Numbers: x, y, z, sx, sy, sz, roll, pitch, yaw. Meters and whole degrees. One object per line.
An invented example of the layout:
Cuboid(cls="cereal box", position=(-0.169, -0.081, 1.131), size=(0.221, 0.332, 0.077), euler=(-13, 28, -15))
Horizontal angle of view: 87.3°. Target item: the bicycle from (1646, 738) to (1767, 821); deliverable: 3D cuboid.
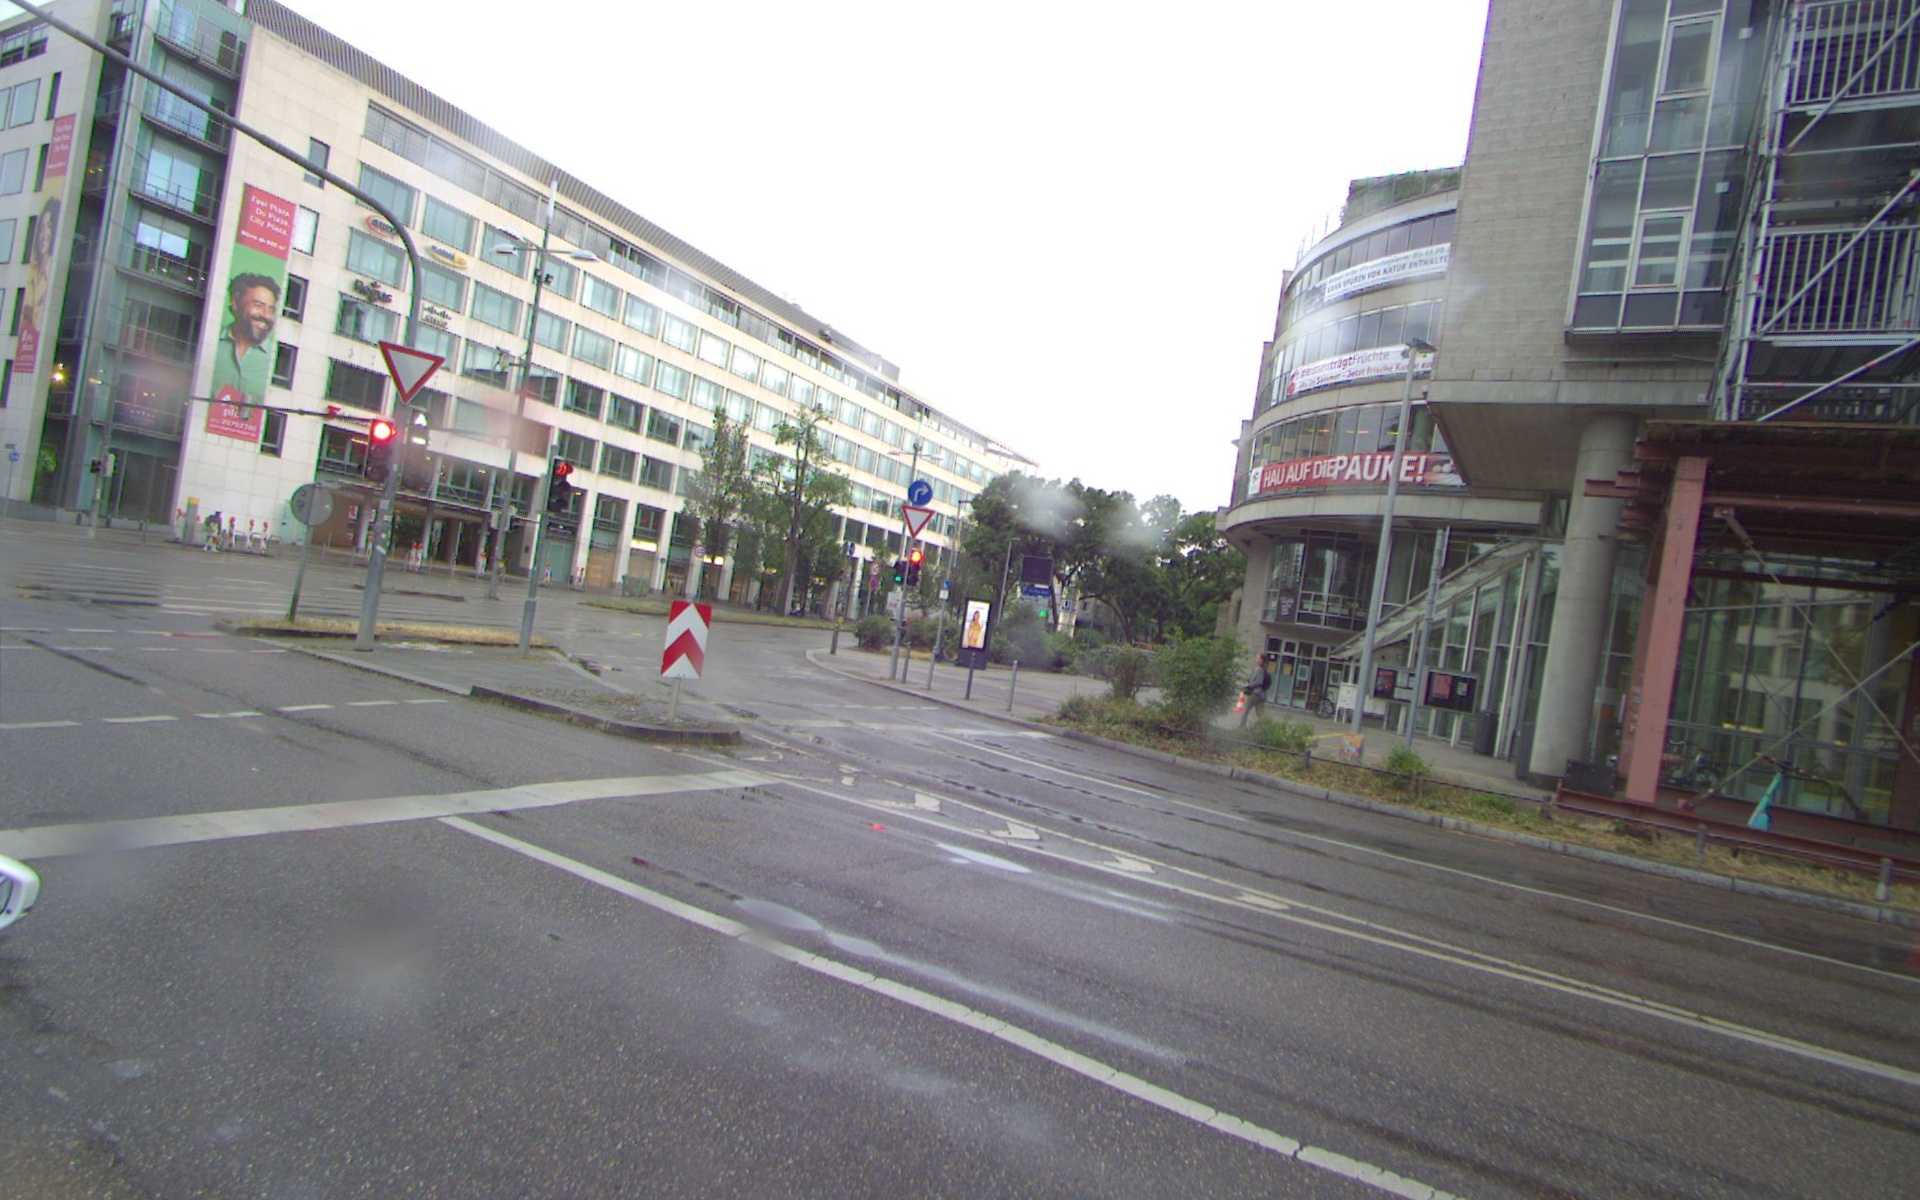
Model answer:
Cuboid(cls="bicycle", position=(13.501, 3.227, 18.218), size=(1.584, 1.208, 0.587), euler=(7, -1, 6))

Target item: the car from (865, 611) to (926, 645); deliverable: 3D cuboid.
Cuboid(cls="car", position=(-3.544, 1.560, 55.871), size=(1.713, 1.472, 3.723), euler=(7, -2, 23))

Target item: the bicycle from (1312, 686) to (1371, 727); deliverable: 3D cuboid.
Cuboid(cls="bicycle", position=(13.471, 3.748, 35.519), size=(1.753, 1.208, 0.586), euler=(6, -1, 29))

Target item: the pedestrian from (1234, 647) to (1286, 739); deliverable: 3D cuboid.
Cuboid(cls="pedestrian", position=(6.245, 1.929, 20.983), size=(0.776, 1.796, 0.781), euler=(7, -1, 13))

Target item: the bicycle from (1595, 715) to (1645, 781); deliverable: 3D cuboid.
Cuboid(cls="bicycle", position=(13.698, 3.049, 20.914), size=(0.576, 1.208, 1.614), euler=(7, -2, 27))

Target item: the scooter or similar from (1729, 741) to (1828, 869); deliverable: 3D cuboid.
Cuboid(cls="scooter or similar", position=(9.236, 2.272, 11.407), size=(0.577, 1.208, 1.780), euler=(7, -1, 34))

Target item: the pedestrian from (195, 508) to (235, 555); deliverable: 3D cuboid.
Cuboid(cls="pedestrian", position=(-32.148, -2.941, 43.421), size=(0.822, 1.838, 0.963), euler=(6, -1, 31))
